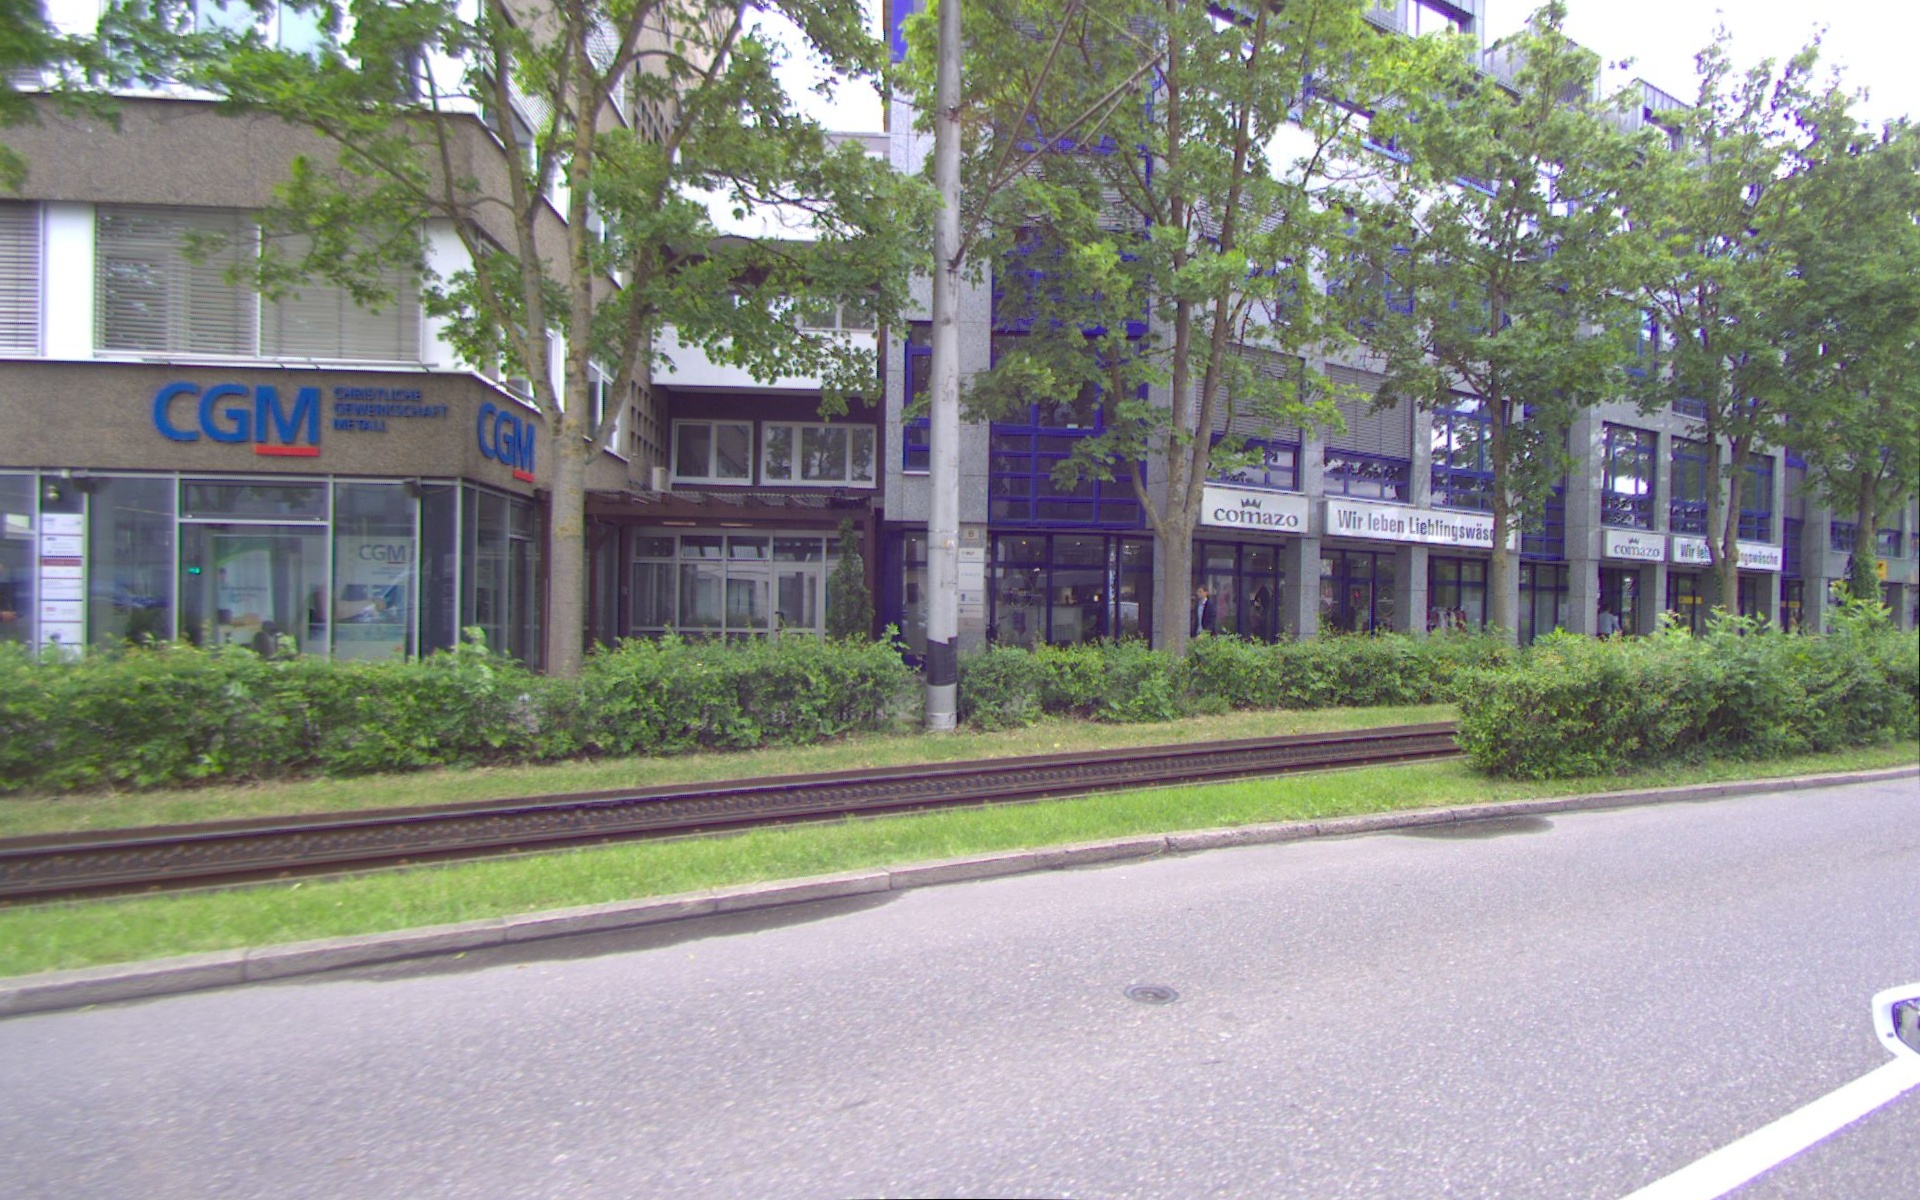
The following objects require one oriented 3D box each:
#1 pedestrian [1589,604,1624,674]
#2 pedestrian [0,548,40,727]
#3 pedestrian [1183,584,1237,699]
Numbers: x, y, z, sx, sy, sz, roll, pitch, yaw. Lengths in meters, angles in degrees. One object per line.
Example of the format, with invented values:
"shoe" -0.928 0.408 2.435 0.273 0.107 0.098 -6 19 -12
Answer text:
"pedestrian" 19.102 1.153 29.688 0.564 2.040 0.677 1 -1 -30
"pedestrian" -9.666 0.367 9.905 0.674 1.728 0.685 1 -2 -28
"pedestrian" 4.308 0.714 17.344 0.614 1.933 0.672 1 -2 -30
